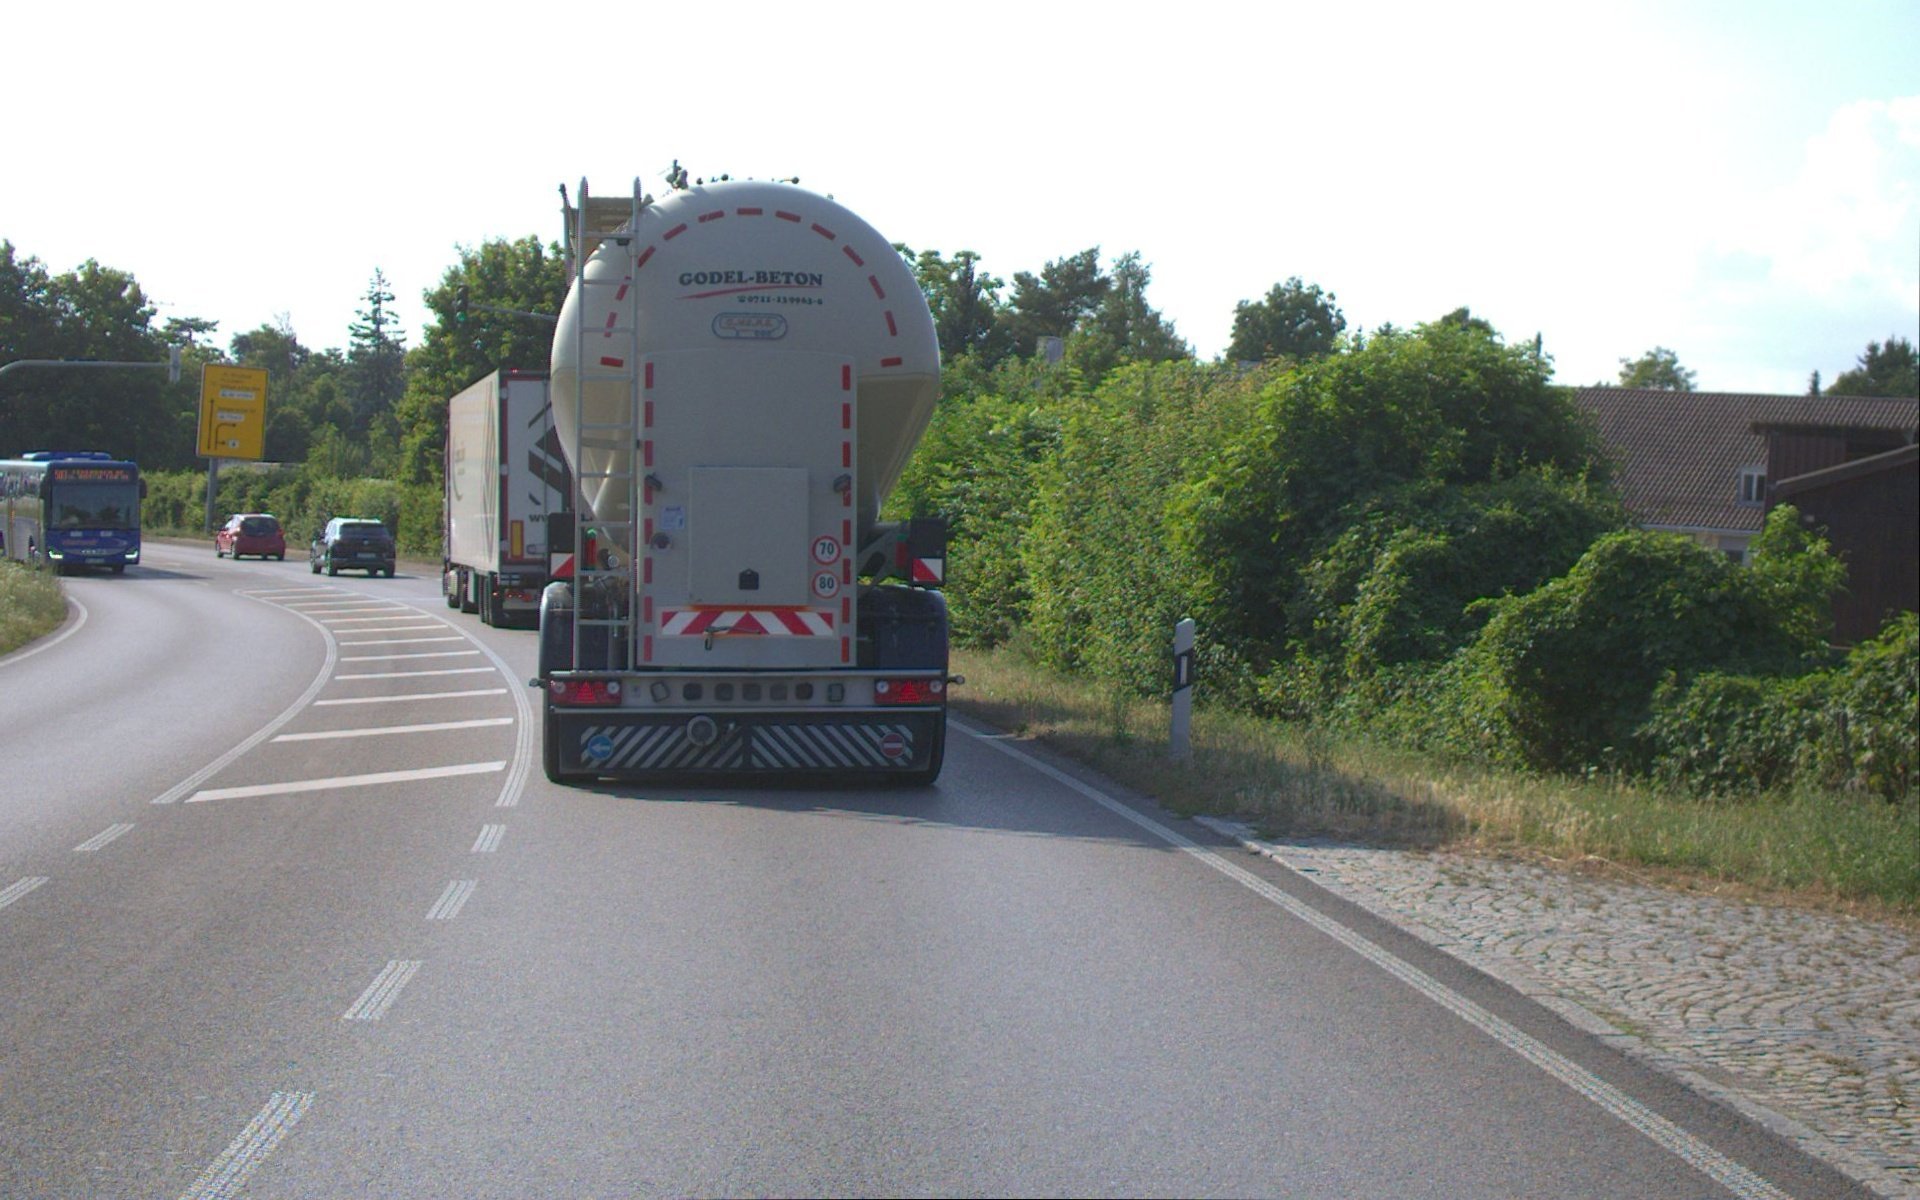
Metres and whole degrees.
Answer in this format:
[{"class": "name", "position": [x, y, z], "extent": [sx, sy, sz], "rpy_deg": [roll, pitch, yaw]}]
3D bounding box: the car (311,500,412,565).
[{"class": "car", "position": [-16.241, -1.809, 93.112], "extent": [1.993, 1.650, 4.001], "rpy_deg": [1, 0, -20]}]

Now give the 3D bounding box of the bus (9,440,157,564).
[{"class": "bus", "position": [-24.462, -2.619, 95.441], "extent": [2.793, 3.170, 12.130], "rpy_deg": [1, 0, -20]}]

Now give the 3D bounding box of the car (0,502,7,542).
[{"class": "car", "position": [-41.010, -3.261, 144.099], "extent": [1.519, 1.650, 3.873], "rpy_deg": [1, 0, -23]}]

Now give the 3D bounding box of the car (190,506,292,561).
[{"class": "car", "position": [-22.818, -2.102, 108.991], "extent": [2.299, 1.650, 4.416], "rpy_deg": [1, 0, -23]}]

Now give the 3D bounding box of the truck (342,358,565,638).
[{"class": "truck", "position": [-9.493, -1.816, 63.861], "extent": [2.962, 4.870, 6.432], "rpy_deg": [1, 0, -18]}]

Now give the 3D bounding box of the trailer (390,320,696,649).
[{"class": "trailer", "position": [-7.071, -1.777, 56.707], "extent": [2.963, 4.865, 10.291], "rpy_deg": [1, 0, -18]}]

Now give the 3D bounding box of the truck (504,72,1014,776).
[{"class": "truck", "position": [-1.761, -1.077, 26.521], "extent": [2.975, 4.161, 11.664], "rpy_deg": [1, 0, -6]}]
